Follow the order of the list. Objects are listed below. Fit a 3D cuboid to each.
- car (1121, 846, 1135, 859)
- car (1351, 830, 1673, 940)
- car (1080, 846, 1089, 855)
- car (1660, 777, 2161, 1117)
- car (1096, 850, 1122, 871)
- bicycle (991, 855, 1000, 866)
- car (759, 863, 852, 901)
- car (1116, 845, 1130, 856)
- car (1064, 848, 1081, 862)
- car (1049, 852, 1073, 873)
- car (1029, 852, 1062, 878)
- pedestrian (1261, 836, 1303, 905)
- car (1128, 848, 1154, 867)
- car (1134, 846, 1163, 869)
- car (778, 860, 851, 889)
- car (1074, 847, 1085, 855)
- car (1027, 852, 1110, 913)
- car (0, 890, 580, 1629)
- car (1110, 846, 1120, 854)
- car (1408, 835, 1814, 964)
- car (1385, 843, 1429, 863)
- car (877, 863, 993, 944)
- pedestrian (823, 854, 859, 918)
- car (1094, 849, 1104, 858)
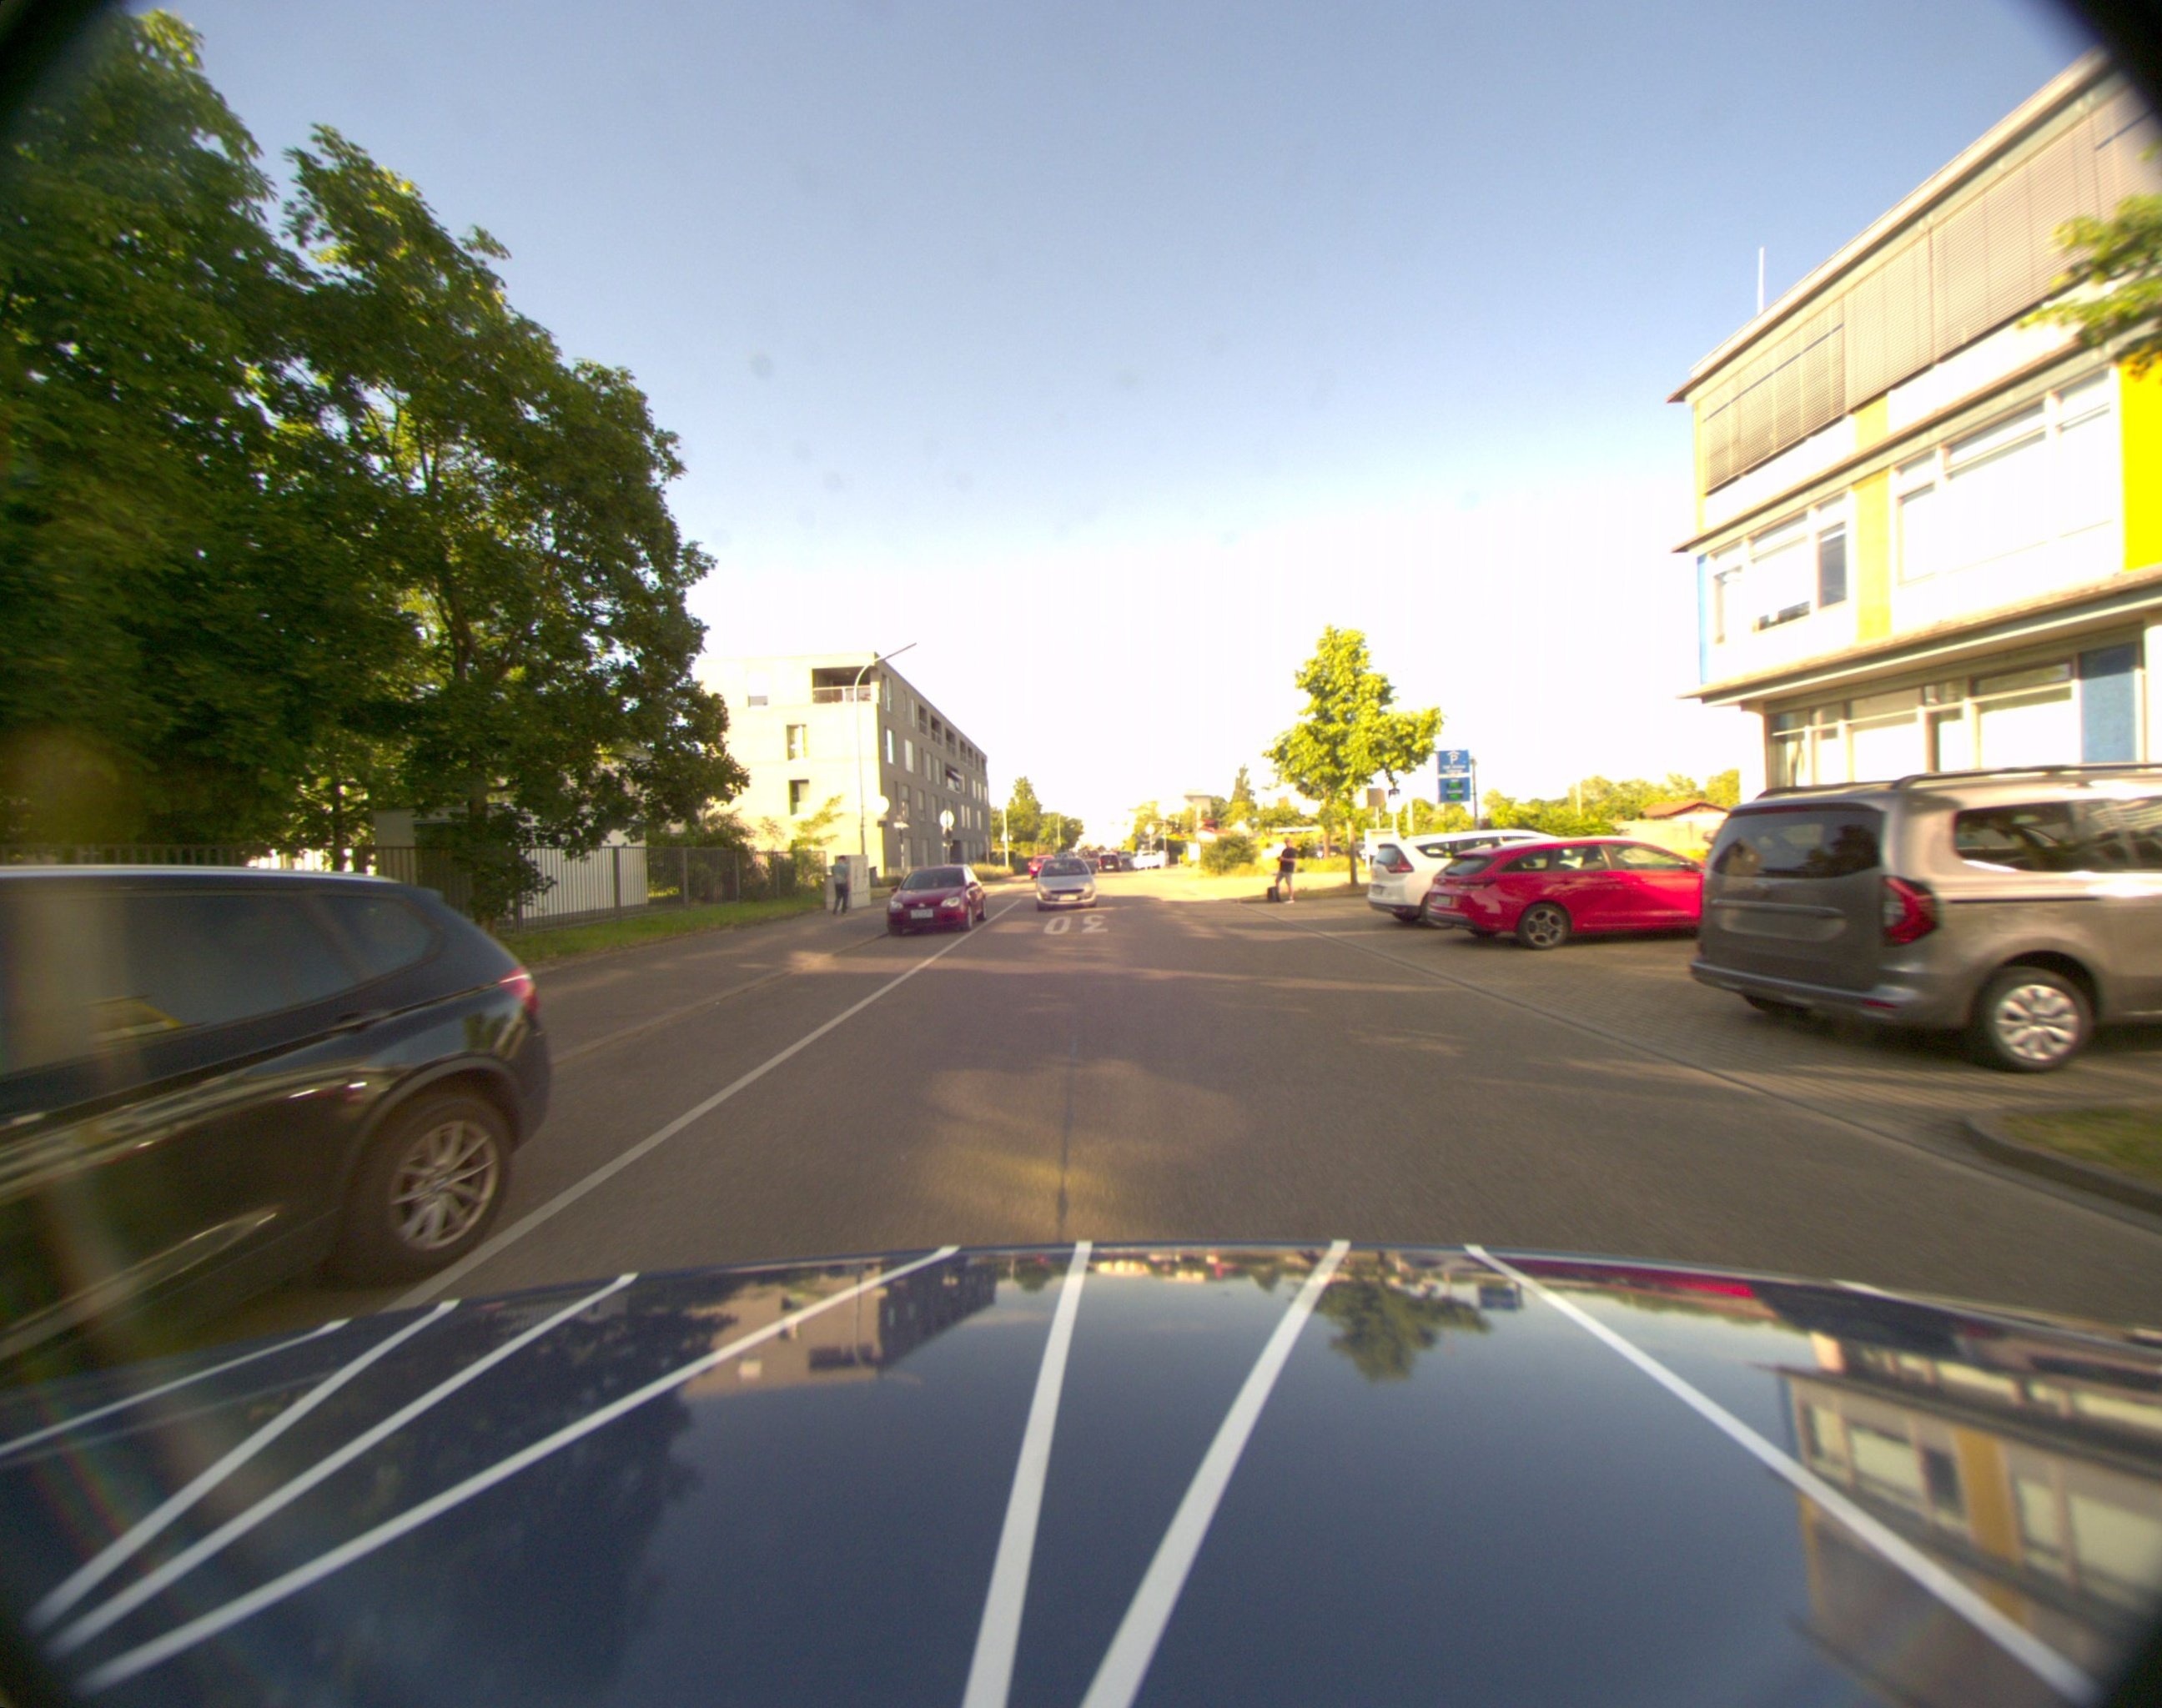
[{"bbox_3d":[5.705,-0.148,92.784,1.531,1.479,3.401,-3,1,1],"label":"car"},{"bbox_3d":[7.481,0.508,13.582,4.622,1.641,1.868,-3,1,4],"label":"car"},{"bbox_3d":[0.892,-0.815,184.337,1.998,2.002,4.000,-1,1,1],"label":"car"},{"bbox_3d":[7.117,0.428,5.238,4.754,1.854,1.827,-4,1,1],"label":"car"},{"bbox_3d":[2.027,0.418,55.841,1.708,1.443,4.085,-1,1,0],"label":"car"},{"bbox_3d":[-9.060,0.661,80.519,0.553,1.055,1.842,-3,1,5],"label":"bicycle"},{"bbox_3d":[-12.352,1.241,34.206,3.555,1.477,1.600,-2,1,2],"label":"car"},{"bbox_3d":[6.043,-0.474,110.153,1.700,1.415,4.516,-4,1,1],"label":"car"},{"bbox_3d":[-1.074,0.084,96.633,1.749,1.558,4.803,-4,1,3],"label":"car"},{"bbox_3d":[-1.708,0.688,65.874,1.821,1.590,4.626,-5,1,0],"label":"car"},{"bbox_3d":[-2.257,0.660,49.665,1.823,1.491,4.451,-3,1,0],"label":"car"},{"bbox_3d":[5.563,0.445,21.071,0.860,1.832,0.825,-4,1,3],"label":"pedestrian"},{"bbox_3d":[5.002,0.261,63.608,1.751,1.437,4.541,-5,1,1],"label":"car"},{"bbox_3d":[4.981,0.235,56.896,1.700,1.504,4.517,-5,0,1],"label":"car"},{"bbox_3d":[-14.824,1.132,42.361,3.333,1.450,1.715,-2,1,6],"label":"car"},{"bbox_3d":[-0.329,-0.603,147.377,1.873,1.517,4.155,-3,1,2],"label":"car"},{"bbox_3d":[-0.265,0.768,22.283,1.678,1.440,4.001,-3,2,9],"label":"car"},{"bbox_3d":[-3.514,1.054,1.487,1.816,1.656,4.593,-4,0,2],"label":"car"},{"bbox_3d":[6.243,-0.736,138.631,1.700,1.361,3.910,-2,1,1],"label":"car"},{"bbox_3d":[7.298,0.587,10.823,4.445,1.492,1.827,-3,1,1],"label":"car"},{"bbox_3d":[20.890,-0.076,48.795,1.509,1.145,3.847,-2,1,7],"label":"car"},{"bbox_3d":[-3.247,1.040,17.855,1.724,1.446,4.651,-3,1,0],"label":"car"},{"bbox_3d":[-6.702,0.885,21.261,0.719,1.748,0.885,0,1,1],"label":"pedestrian"},{"bbox_3d":[3.702,-0.065,156.724,1.947,1.717,4.839,-2,0,3],"label":"car"}]
